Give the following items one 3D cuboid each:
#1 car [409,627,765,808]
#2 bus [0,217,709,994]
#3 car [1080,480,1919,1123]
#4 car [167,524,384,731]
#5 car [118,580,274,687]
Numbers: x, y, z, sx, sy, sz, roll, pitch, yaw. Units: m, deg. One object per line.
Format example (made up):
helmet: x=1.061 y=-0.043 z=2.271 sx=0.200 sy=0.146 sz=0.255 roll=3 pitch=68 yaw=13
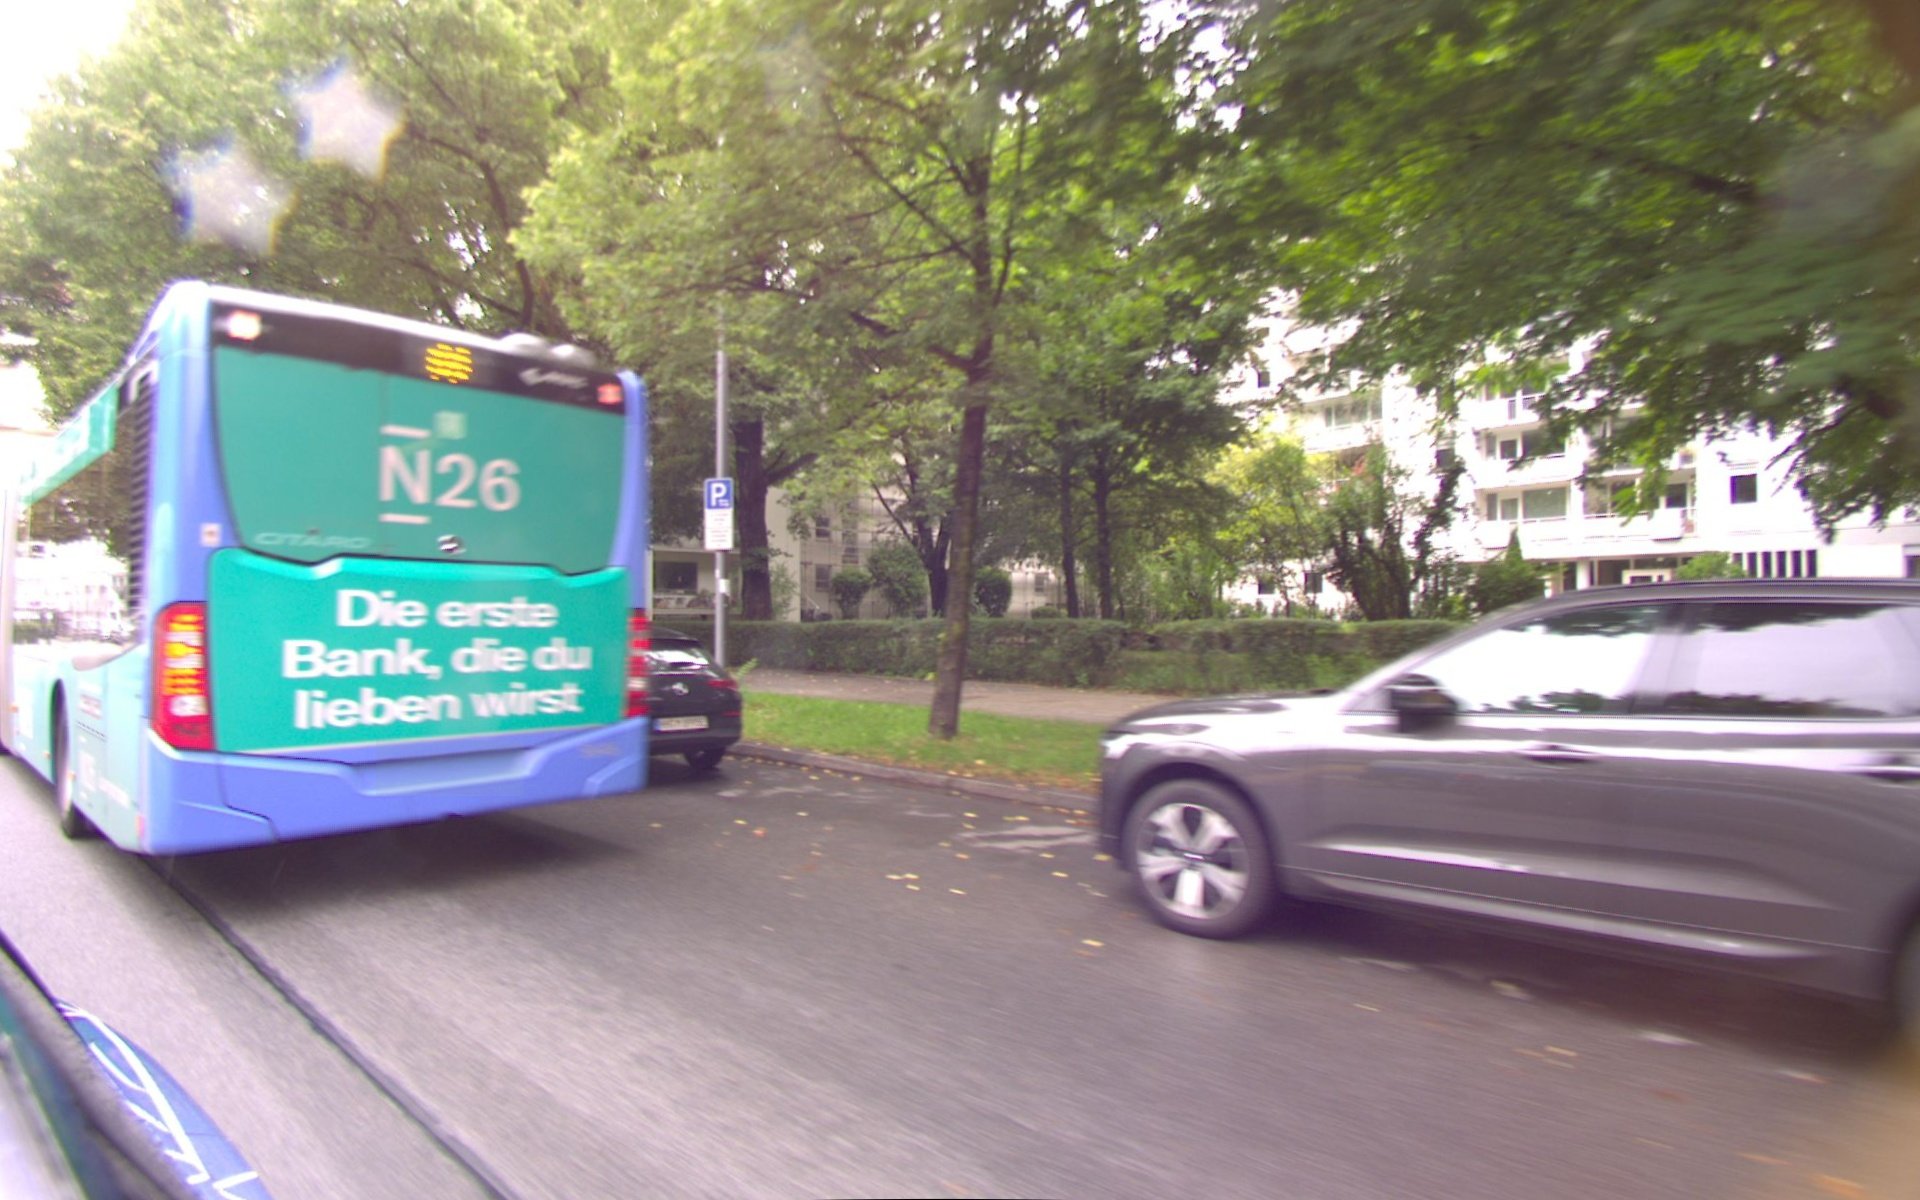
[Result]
car: x=-4.016 y=1.025 z=10.416 sx=1.769 sy=1.449 sz=4.555 roll=2 pitch=-3 yaw=-44
bus: x=-9.291 y=0.038 z=11.580 sx=18.426 sy=3.264 sz=2.828 roll=0 pitch=-1 yaw=43
car: x=2.864 y=0.611 z=4.139 sx=4.547 sy=1.891 sz=1.765 roll=-1 pitch=-2 yaw=42
car: x=-11.661 y=0.403 z=16.985 sx=1.922 sy=2.876 sz=6.241 roll=1 pitch=-1 yaw=-44
car: x=-19.055 y=0.827 z=25.126 sx=5.407 sy=2.366 sz=2.092 roll=-2 pitch=-2 yaw=42
